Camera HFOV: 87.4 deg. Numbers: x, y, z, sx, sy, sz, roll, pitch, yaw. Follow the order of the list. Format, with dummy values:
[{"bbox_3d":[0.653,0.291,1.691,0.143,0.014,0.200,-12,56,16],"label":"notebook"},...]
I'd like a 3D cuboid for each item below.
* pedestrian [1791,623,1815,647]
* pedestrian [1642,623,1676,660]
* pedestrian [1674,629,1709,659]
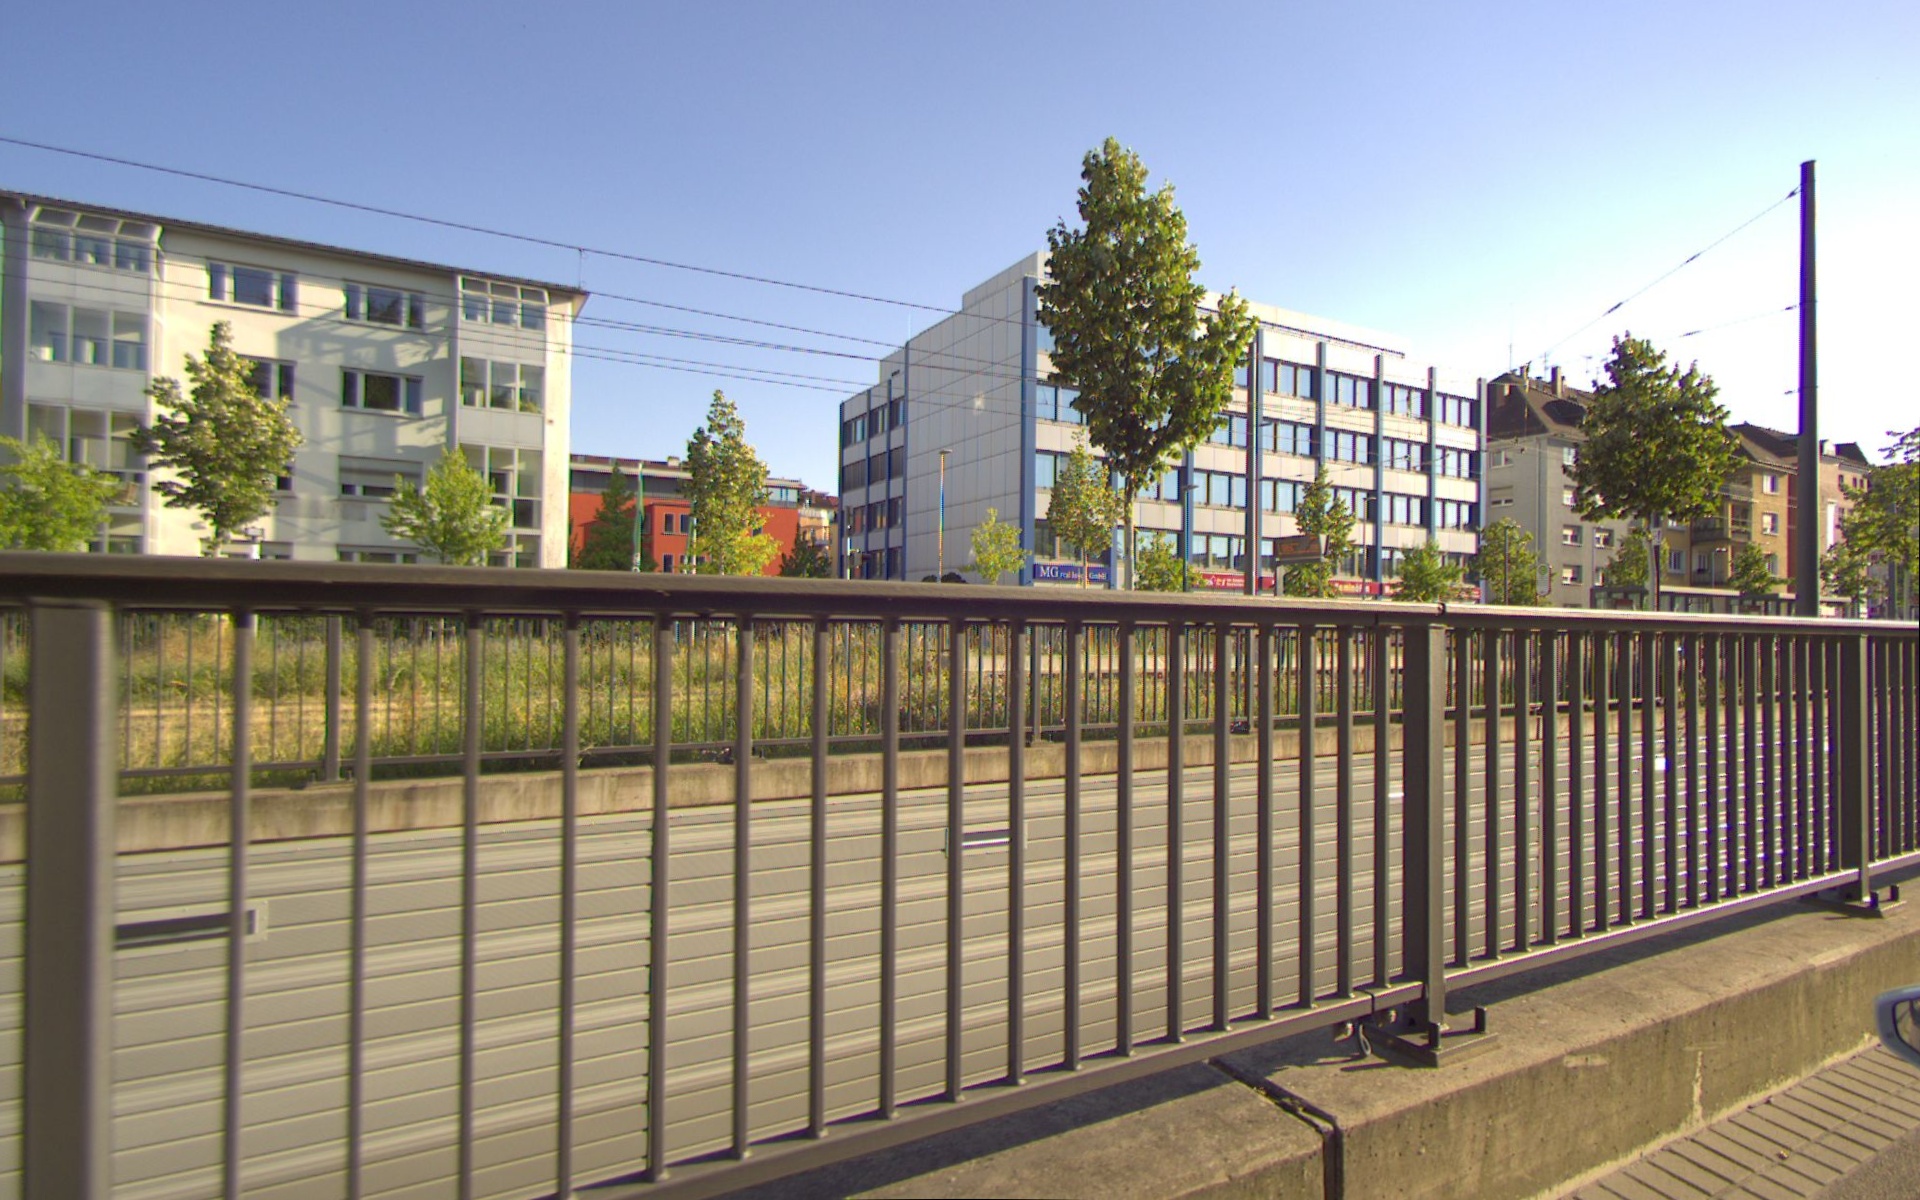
[{"bbox_3d":[38.336,1.598,45.680,0.785,1.061,0.624,1,-1,-30],"label":"pedestrian"},{"bbox_3d":[27.620,1.646,39.701,0.794,1.429,0.834,1,-1,-30],"label":"pedestrian"},{"bbox_3d":[29.824,1.781,40.964,0.755,1.213,0.929,1,-1,-30],"label":"pedestrian"}]
